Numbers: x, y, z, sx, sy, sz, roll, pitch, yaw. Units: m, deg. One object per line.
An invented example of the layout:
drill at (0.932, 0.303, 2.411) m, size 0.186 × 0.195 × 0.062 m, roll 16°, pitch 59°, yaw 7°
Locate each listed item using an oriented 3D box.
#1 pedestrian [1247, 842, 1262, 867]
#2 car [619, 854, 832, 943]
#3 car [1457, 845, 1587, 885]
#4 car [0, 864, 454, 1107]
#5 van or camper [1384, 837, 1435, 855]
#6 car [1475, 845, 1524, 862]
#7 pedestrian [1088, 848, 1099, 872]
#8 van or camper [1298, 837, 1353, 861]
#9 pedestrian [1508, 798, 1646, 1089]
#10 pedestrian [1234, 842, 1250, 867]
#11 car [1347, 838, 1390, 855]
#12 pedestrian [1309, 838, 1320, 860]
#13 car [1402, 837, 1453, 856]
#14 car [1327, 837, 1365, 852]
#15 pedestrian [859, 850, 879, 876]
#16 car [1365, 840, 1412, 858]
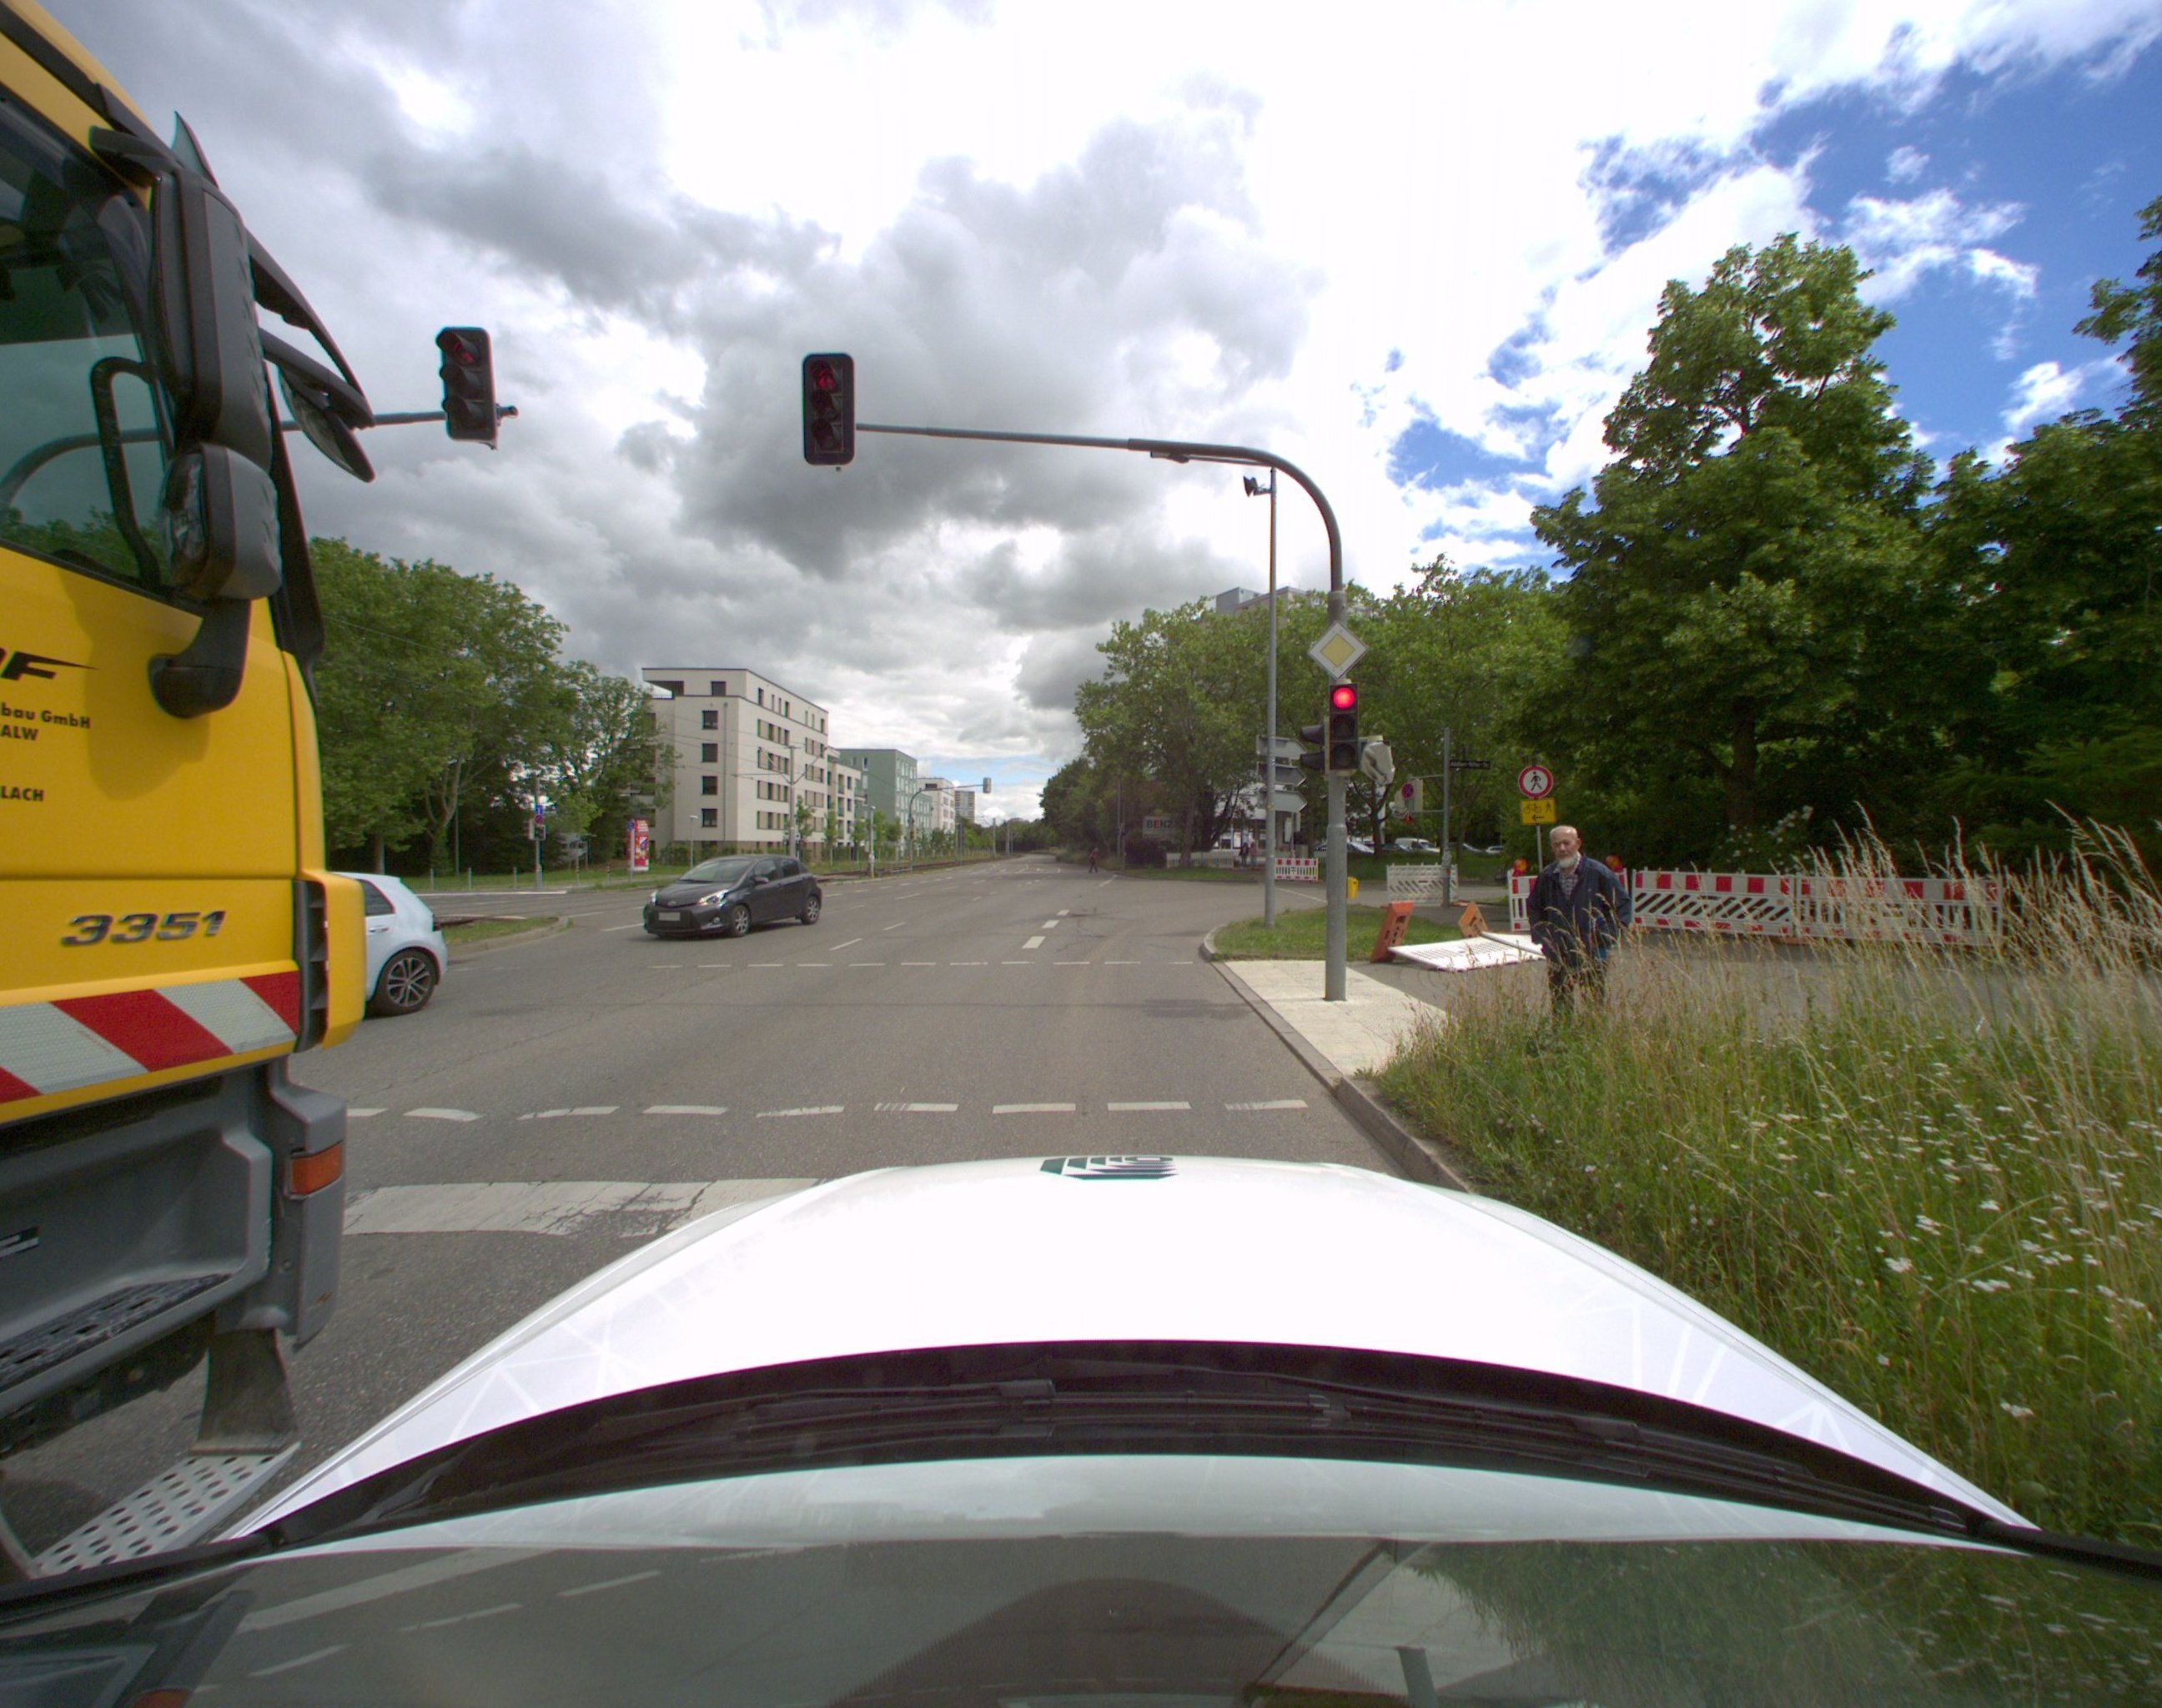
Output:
pedestrian at (10.323, 0.038, 48.543) m, size 0.679 × 1.489 × 0.704 m, roll -1°, pitch -1°, yaw 28°
car at (-6.723, 0.761, 15.956) m, size 1.765 × 1.469 × 4.057 m, roll -1°, pitch 0°, yaw 12°
car at (18.016, 0.443, 33.436) m, size 4.379 × 1.586 × 1.774 m, roll 0°, pitch -1°, yaw 2°
car at (-7.515, 0.847, 6.362) m, size 1.755 × 1.441 × 4.281 m, roll -1°, pitch 0°, yaw 3°
van or camper at (26.975, -0.642, 67.054) m, size 1.523 × 1.356 × 3.738 m, roll 0°, pitch -1°, yaw -31°
car at (38.111, -0.038, 74.288) m, size 1.736 × 1.500 × 3.714 m, roll 0°, pitch -1°, yaw -24°
pedestrian at (0.816, 0.375, 52.166) m, size 0.650 × 1.539 × 0.773 m, roll 0°, pitch -1°, yaw 2°
van or camper at (18.477, -0.380, 61.726) m, size 1.849 × 1.684 × 3.967 m, roll -1°, pitch 0°, yaw -25°
pedestrian at (3.325, 0.533, 5.469) m, size 0.719 × 1.740 × 0.962 m, roll -1°, pitch 0°, yaw 32°
pedestrian at (9.556, 0.051, 48.253) m, size 0.711 × 1.489 × 0.704 m, roll -1°, pitch -1°, yaw 30°
car at (28.023, -0.767, 79.399) m, size 1.677 × 1.634 × 3.787 m, roll 0°, pitch 1°, yaw -28°
pedestrian at (22.041, -0.483, 76.830) m, size 0.802 × 2.002 × 0.852 m, roll 0°, pitch -1°, yaw -3°
car at (29.019, -0.597, 68.342) m, size 1.489 × 1.465 × 3.856 m, roll 0°, pitch -1°, yaw -29°
car at (25.313, -0.893, 77.805) m, size 1.489 × 1.404 × 3.377 m, roll 0°, pitch -1°, yaw -29°
pedestrian at (-12.756, 0.533, 49.025) m, size 0.786 × 1.586 × 0.856 m, roll -1°, pitch -1°, yaw 32°
car at (24.318, -0.374, 64.522) m, size 1.488 × 1.404 × 3.378 m, roll 0°, pitch -1°, yaw -27°
